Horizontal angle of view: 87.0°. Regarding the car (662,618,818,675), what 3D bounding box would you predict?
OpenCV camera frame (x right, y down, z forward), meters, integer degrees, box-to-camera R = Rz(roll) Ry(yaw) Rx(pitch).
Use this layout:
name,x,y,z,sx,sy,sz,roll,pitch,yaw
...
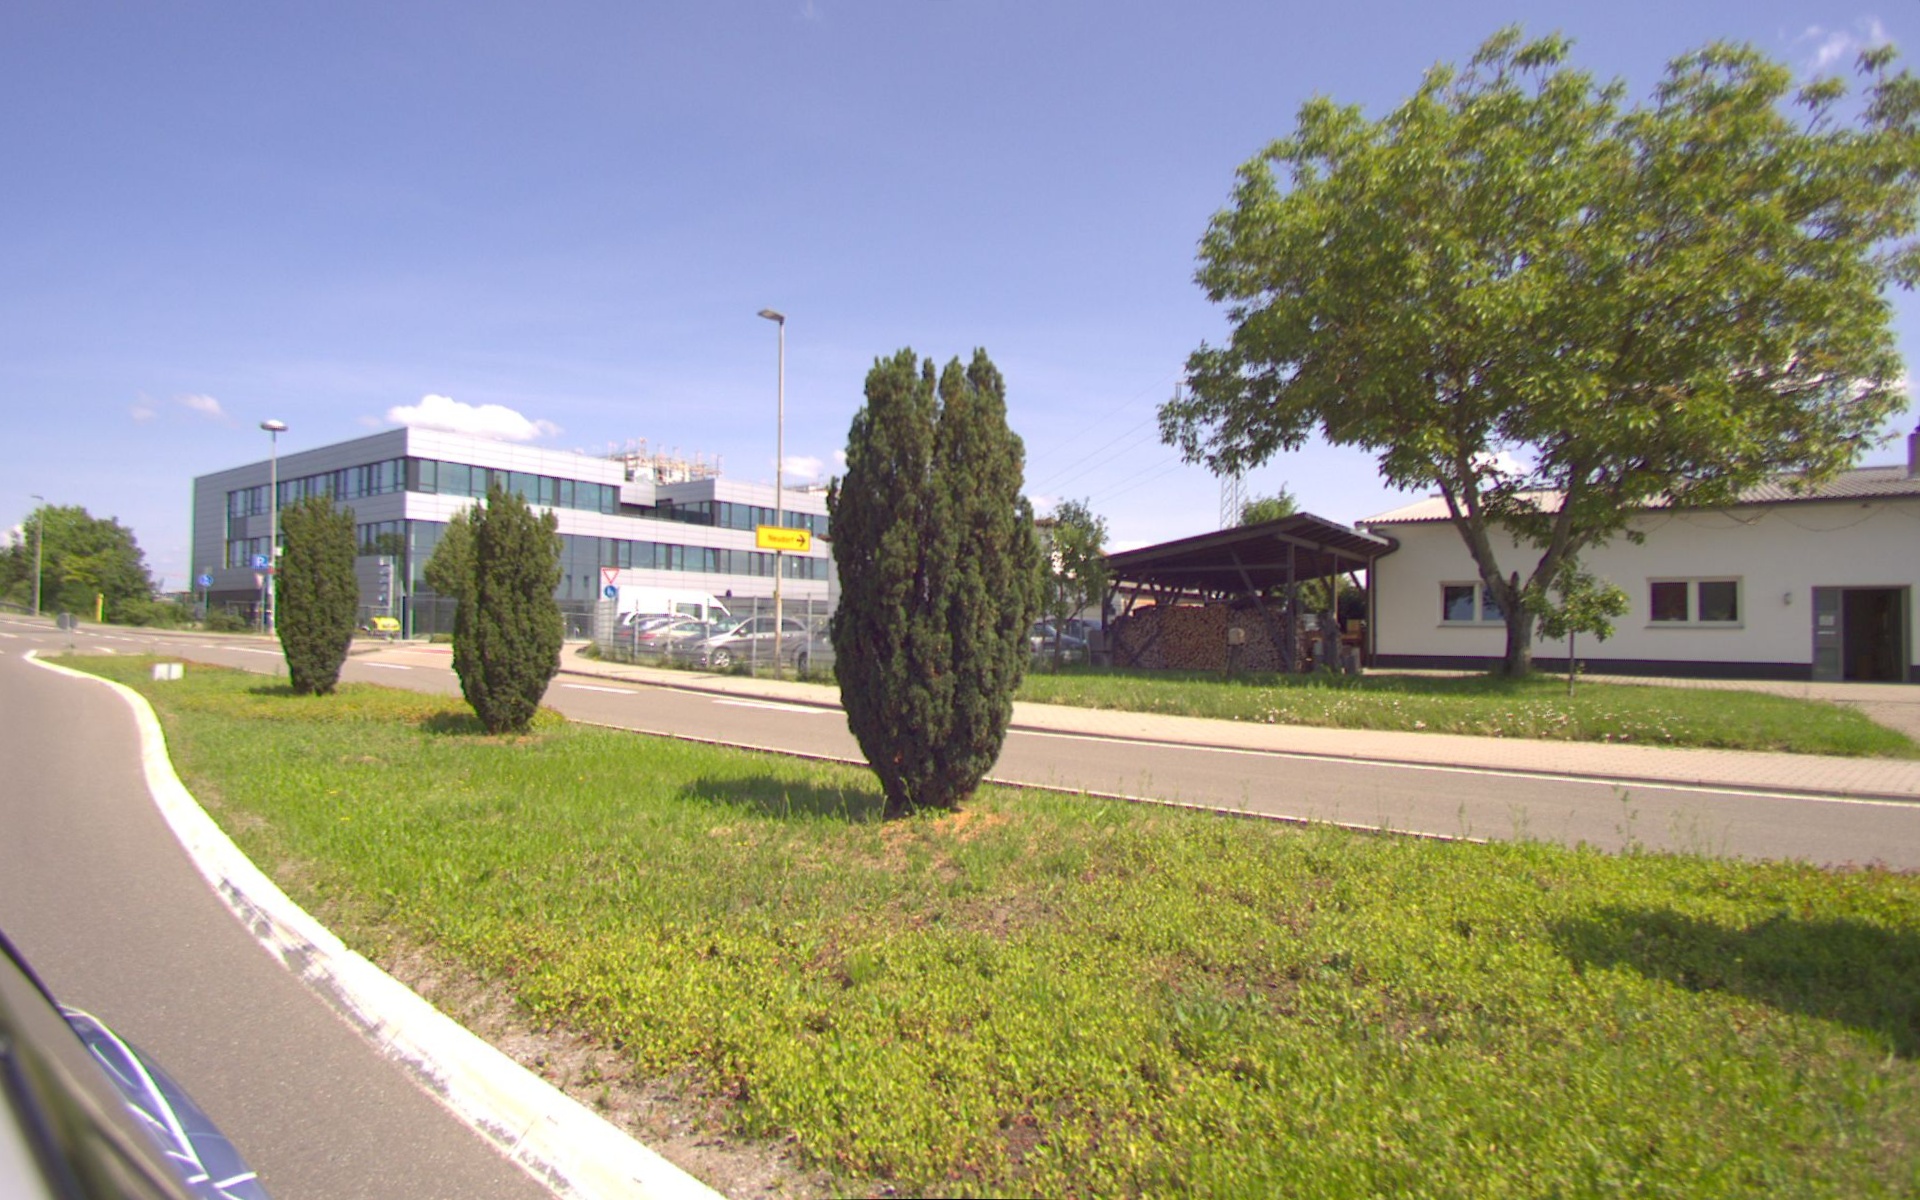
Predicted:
name,x,y,z,sx,sy,sz,roll,pitch,yaw
car,-6.292,1.314,29.170,2.001,1.530,3.942,-1,-3,44

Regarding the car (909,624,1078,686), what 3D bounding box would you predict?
name,x,y,z,sx,sy,sz,roll,pitch,yaw
car,0.825,1.378,26.190,3.995,1.453,1.974,-1,-2,38

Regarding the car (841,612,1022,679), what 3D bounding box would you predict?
name,x,y,z,sx,sy,sz,roll,pitch,yaw
car,-0.719,1.038,24.053,3.996,1.453,1.974,-1,-2,39

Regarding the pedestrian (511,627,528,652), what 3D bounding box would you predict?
name,x,y,z,sx,sy,sz,roll,pitch,yaw
pedestrian,-30.295,2.709,69.630,0.773,1.741,0.773,0,-2,34

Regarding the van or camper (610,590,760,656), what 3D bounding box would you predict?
name,x,y,z,sx,sy,sz,roll,pitch,yaw
van or camper,-11.033,0.959,40.645,5.491,2.516,2.085,1,-2,-25

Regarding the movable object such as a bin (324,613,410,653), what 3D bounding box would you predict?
name,x,y,z,sx,sy,sz,roll,pitch,yaw
movable object such as a bin,-37.527,2.078,63.982,5.435,2.428,2.151,0,-2,28

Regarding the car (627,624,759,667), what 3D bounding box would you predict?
name,x,y,z,sx,sy,sz,roll,pitch,yaw
car,-8.644,1.462,32.833,3.824,1.331,1.697,2,-2,-31
